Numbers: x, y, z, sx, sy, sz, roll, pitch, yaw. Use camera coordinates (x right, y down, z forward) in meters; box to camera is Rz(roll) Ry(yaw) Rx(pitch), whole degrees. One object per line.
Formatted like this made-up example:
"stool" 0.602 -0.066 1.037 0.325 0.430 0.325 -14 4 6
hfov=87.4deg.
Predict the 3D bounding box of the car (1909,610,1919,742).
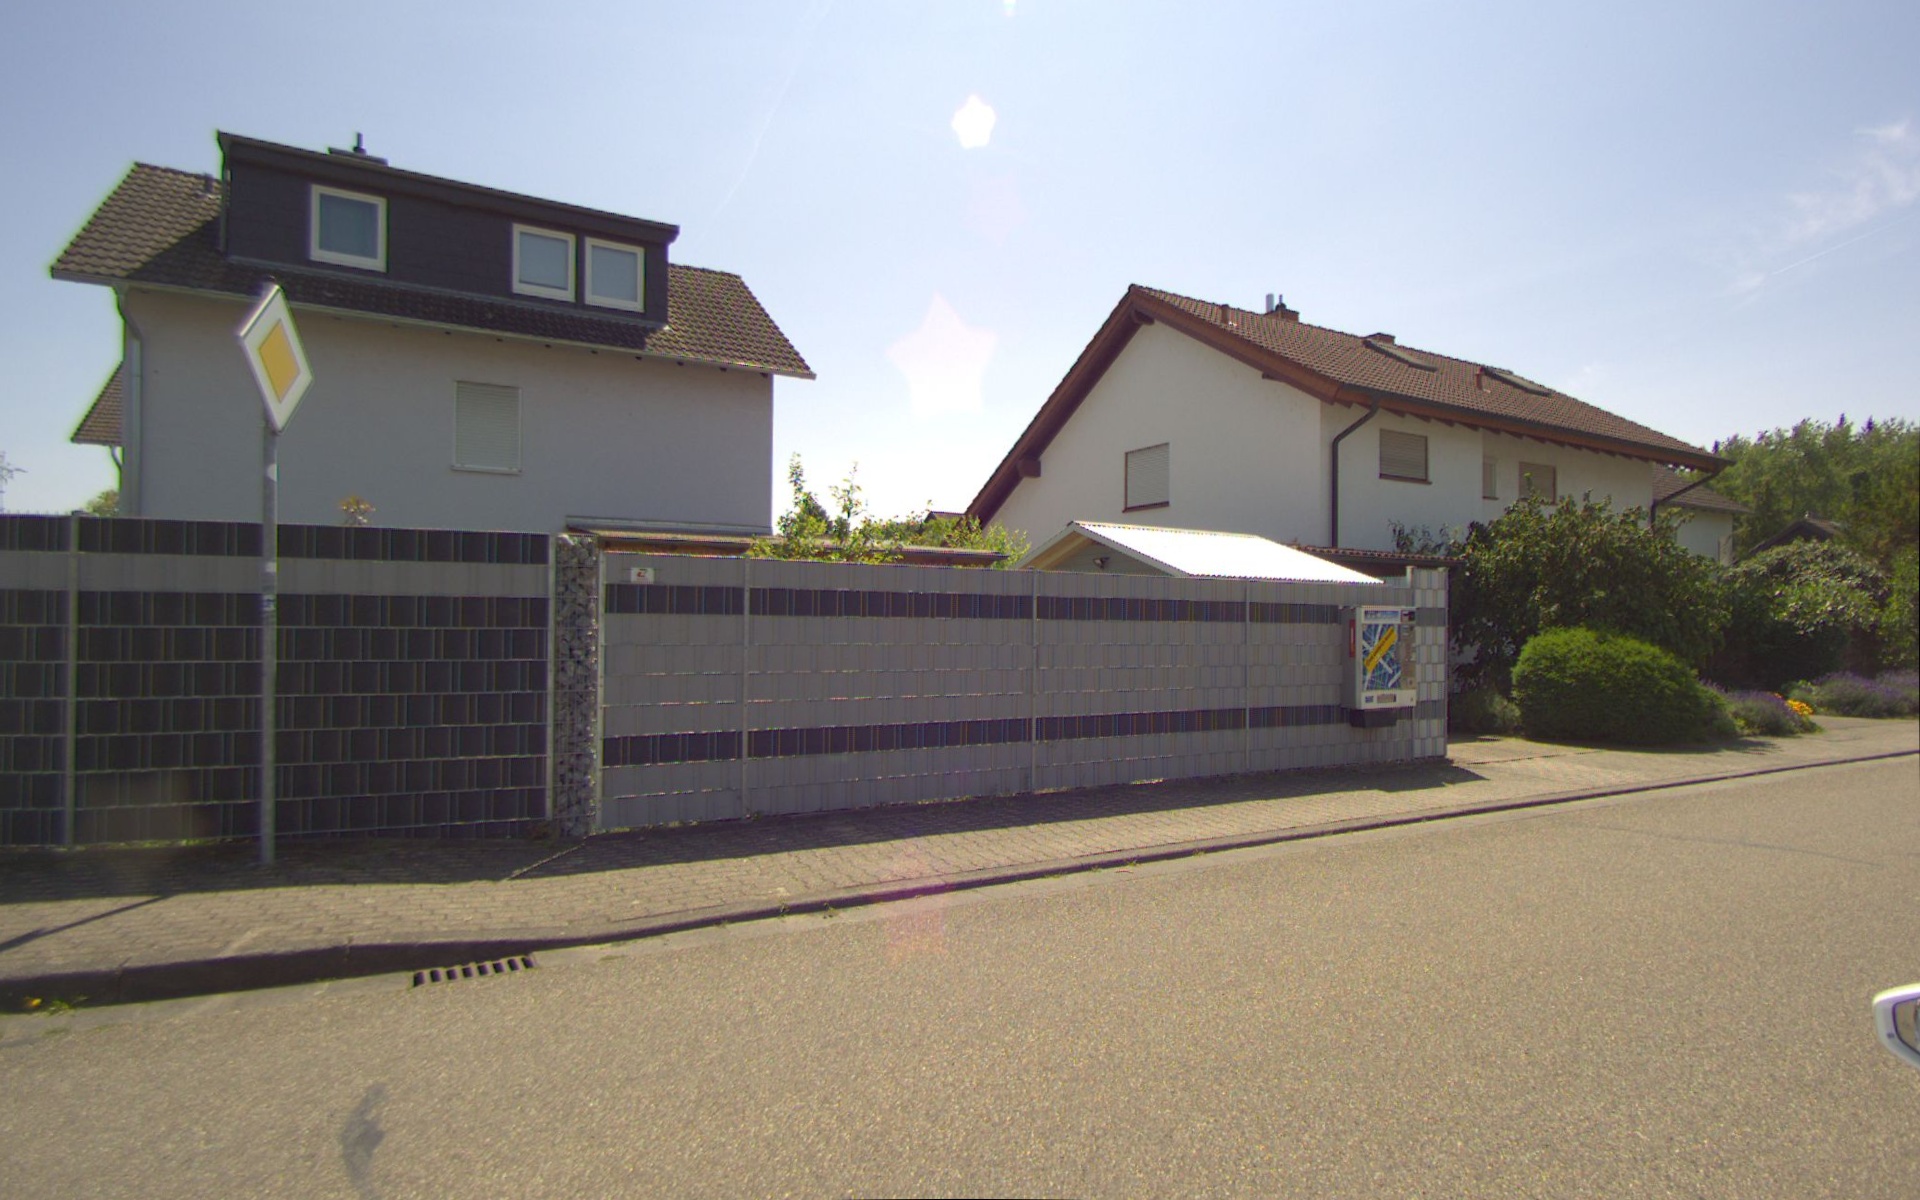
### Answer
"car" 15.756 1.123 14.706 4.008 1.870 1.710 2 -2 -31
